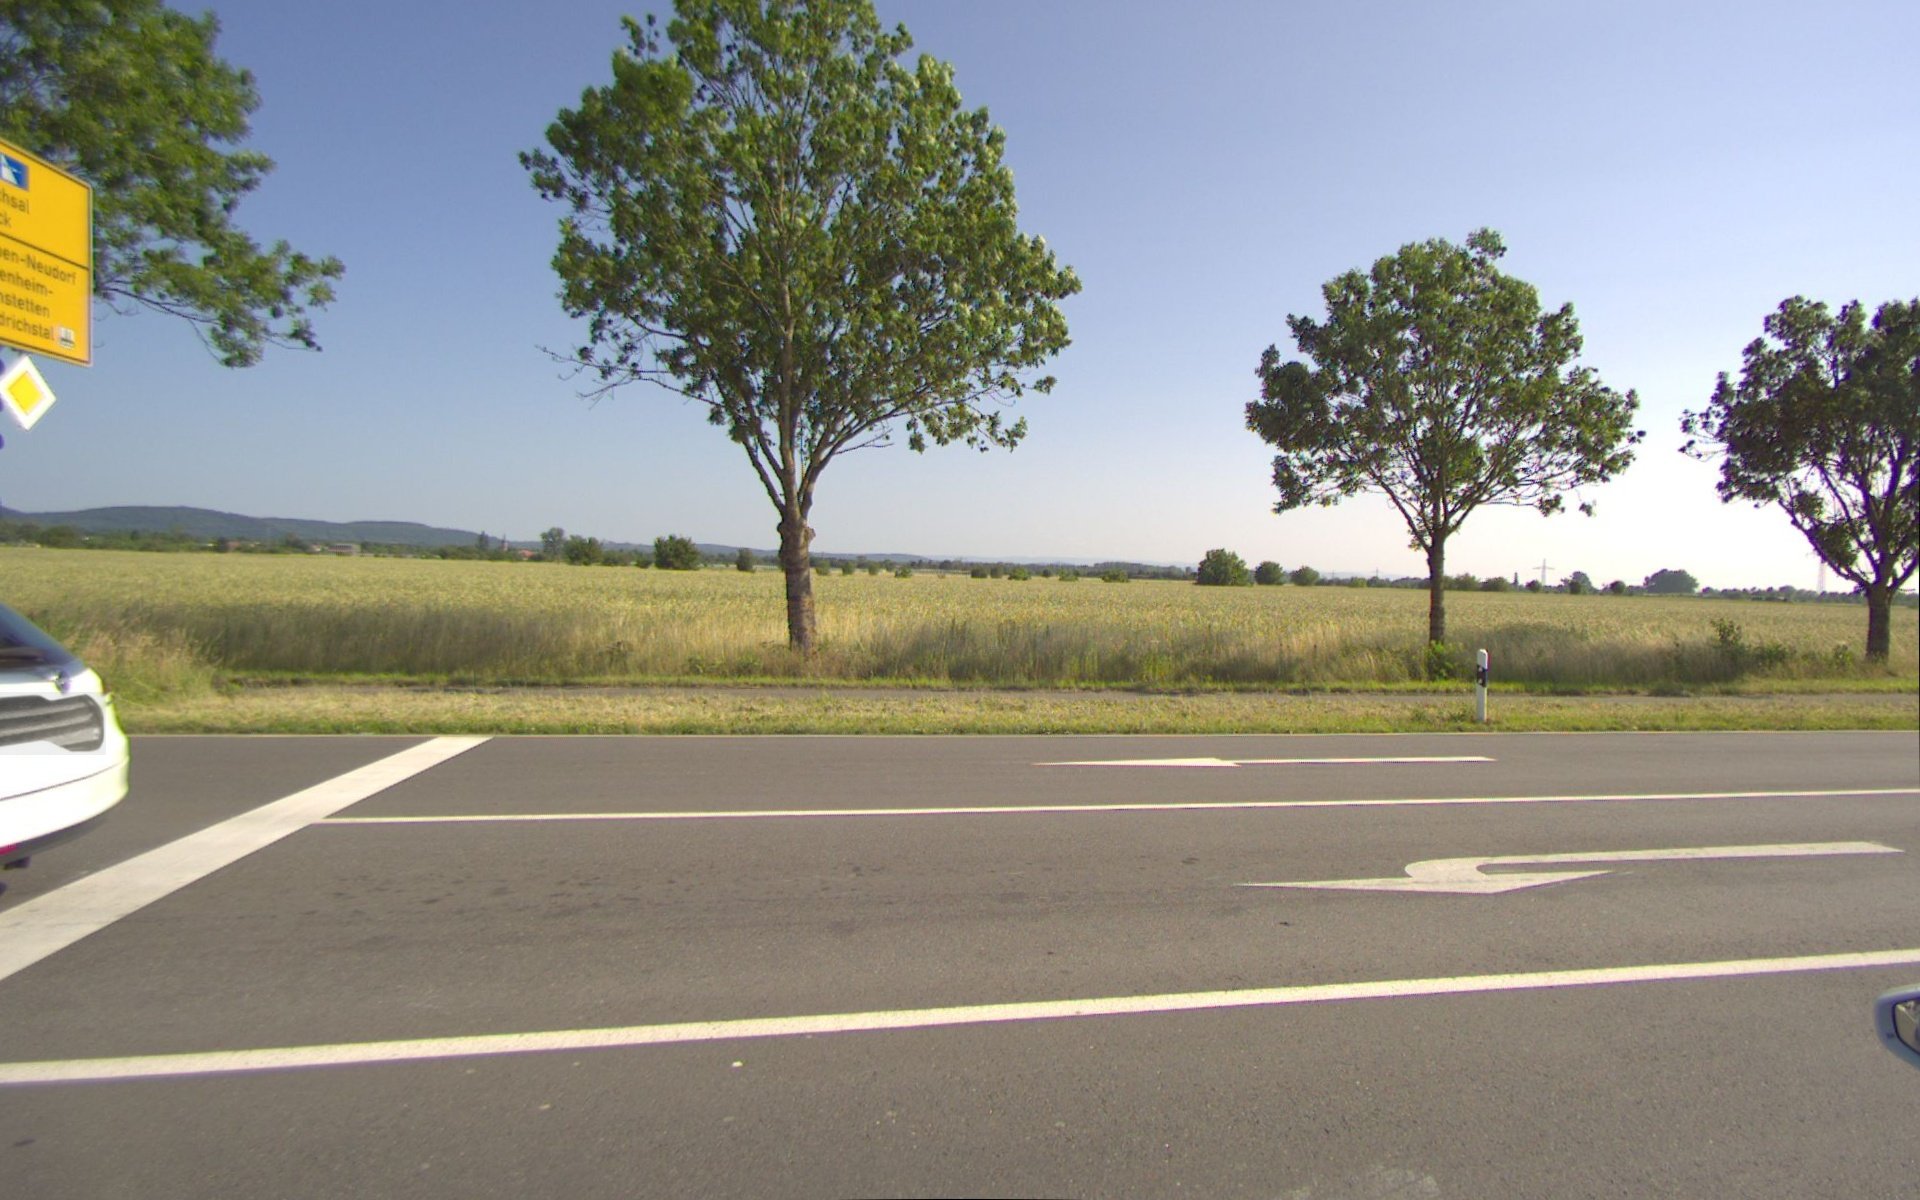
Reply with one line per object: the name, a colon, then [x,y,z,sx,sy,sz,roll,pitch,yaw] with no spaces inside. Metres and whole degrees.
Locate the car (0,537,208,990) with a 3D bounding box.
car: [-5.589,0.478,3.291,4.633,1.512,1.758,2,0,-18]
